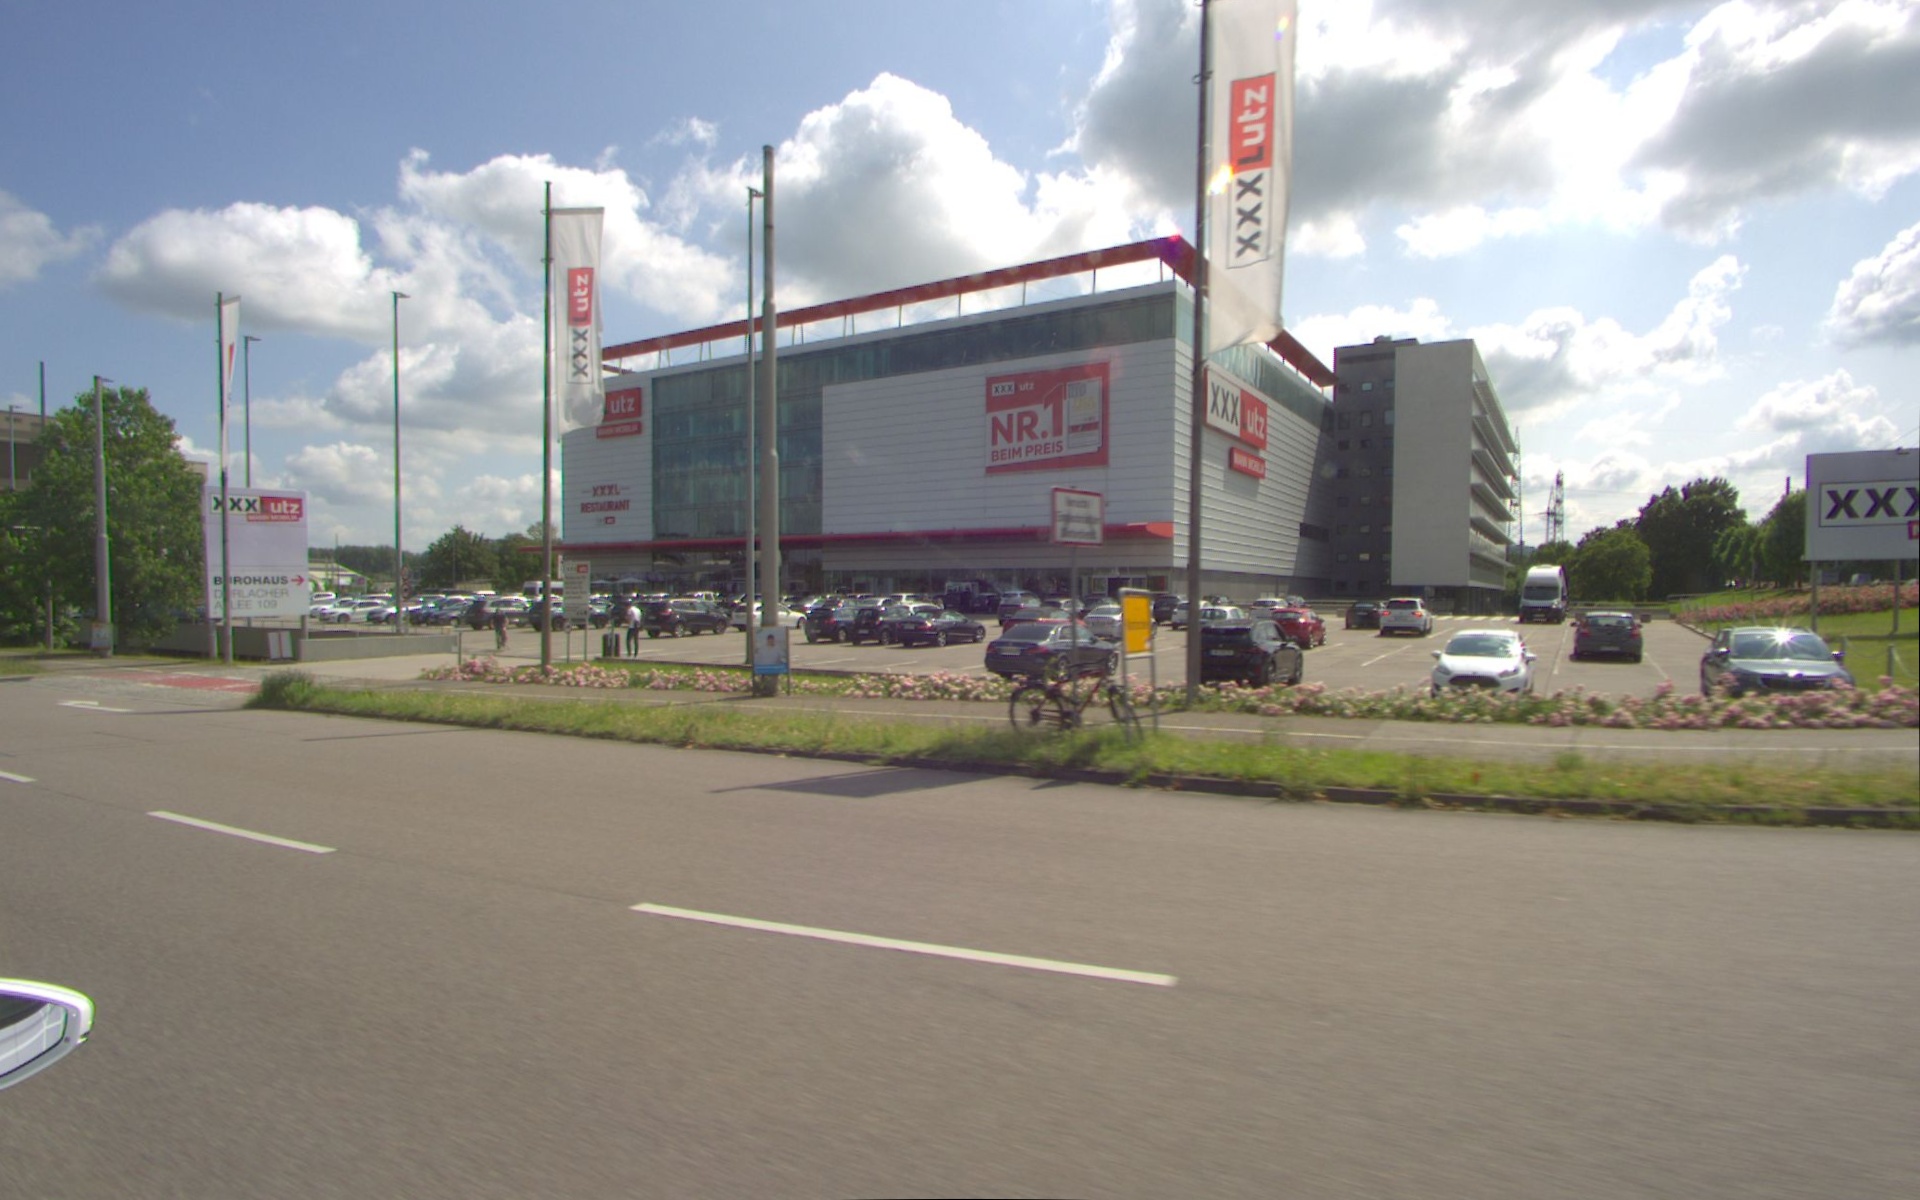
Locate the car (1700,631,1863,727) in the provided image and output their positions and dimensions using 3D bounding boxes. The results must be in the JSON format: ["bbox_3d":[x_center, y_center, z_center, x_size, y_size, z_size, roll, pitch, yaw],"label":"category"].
[{"bbox_3d":[14.844,1.339,18.305,1.690,1.437,3.981,-1,0,30],"label":"car"}]

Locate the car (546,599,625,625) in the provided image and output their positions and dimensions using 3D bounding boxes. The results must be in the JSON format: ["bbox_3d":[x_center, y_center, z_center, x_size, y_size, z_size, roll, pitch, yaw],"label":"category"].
[{"bbox_3d":[-22.331,0.704,59.851,1.734,1.483,4.233,1,0,31],"label":"car"}]

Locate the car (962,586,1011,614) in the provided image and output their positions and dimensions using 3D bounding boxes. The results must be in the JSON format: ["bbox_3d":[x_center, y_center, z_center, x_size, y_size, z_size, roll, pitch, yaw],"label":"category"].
[{"bbox_3d":[2.034,-0.003,74.799,1.970,2.040,3.981,1,0,31],"label":"car"}]

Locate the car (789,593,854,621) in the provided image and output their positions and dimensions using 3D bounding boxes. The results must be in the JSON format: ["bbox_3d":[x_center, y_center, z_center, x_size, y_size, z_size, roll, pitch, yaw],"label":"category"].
[{"bbox_3d":[-8.693,0.393,63.241,1.825,1.609,4.217,1,2,30],"label":"car"}]

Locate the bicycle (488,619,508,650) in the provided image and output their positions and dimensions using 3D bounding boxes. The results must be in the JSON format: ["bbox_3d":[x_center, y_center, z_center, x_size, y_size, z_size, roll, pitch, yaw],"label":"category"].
[{"bbox_3d":[-17.078,1.262,37.021,0.615,1.082,1.959,-1,1,-26],"label":"bicycle"}]

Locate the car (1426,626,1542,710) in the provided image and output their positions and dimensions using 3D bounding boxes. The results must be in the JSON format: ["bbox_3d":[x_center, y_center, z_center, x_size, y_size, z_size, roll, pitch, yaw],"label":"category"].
[{"bbox_3d":[10.908,1.303,20.698,1.771,1.459,4.349,0,0,33],"label":"car"}]

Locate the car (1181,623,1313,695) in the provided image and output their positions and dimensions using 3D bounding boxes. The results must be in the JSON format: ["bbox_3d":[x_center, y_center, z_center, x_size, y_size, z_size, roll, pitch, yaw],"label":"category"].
[{"bbox_3d":[6.773,1.293,23.333,1.830,1.435,4.349,0,0,33],"label":"car"}]

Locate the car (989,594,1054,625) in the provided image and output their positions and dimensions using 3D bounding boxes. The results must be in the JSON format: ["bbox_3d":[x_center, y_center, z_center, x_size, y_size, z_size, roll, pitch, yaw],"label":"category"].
[{"bbox_3d":[3.454,0.499,55.531,1.971,1.529,3.976,1,2,33],"label":"car"}]

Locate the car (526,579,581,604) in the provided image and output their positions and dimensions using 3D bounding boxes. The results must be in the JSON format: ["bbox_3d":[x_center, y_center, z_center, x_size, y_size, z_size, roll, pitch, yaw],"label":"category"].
[{"bbox_3d":[-34.394,-0.693,84.777,1.971,1.977,3.979,1,0,32],"label":"car"}]

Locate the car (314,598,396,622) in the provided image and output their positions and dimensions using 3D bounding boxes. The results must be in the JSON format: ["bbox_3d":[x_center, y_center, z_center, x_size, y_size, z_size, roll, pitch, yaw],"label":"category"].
[{"bbox_3d":[-39.407,0.613,65.318,1.864,1.408,4.177,1,2,29],"label":"car"}]

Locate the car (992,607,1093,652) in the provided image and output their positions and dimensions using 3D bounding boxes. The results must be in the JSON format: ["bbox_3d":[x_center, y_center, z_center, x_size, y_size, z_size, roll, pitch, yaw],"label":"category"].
[{"bbox_3d":[3.075,1.019,36.649,1.821,1.381,4.346,2,2,34],"label":"car"}]

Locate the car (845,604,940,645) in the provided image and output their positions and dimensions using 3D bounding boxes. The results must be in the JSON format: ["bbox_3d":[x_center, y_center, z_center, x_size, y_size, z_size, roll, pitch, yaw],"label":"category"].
[{"bbox_3d":[-2.705,0.956,41.056,1.604,1.462,4.346,2,2,34],"label":"car"}]

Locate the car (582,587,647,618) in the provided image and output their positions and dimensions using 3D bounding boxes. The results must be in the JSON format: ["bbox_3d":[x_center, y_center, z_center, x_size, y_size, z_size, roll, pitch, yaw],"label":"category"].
[{"bbox_3d":[-24.503,0.140,71.115,1.971,2.041,3.977,1,2,32],"label":"car"}]

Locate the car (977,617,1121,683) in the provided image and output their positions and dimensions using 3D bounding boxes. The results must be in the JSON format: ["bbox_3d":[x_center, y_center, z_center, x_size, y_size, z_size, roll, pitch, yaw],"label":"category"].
[{"bbox_3d":[2.372,1.208,25.707,1.831,1.496,4.347,-1,0,34],"label":"car"}]

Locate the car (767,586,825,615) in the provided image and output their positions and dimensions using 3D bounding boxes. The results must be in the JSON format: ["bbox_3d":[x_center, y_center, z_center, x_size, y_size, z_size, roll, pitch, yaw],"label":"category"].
[{"bbox_3d":[-11.775,0.033,72.032,1.971,2.040,3.979,1,0,32],"label":"car"}]

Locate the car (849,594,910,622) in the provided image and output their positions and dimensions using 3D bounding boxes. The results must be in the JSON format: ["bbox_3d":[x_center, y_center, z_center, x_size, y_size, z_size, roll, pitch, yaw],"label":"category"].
[{"bbox_3d":[-4.785,0.459,59.848,1.679,1.531,4.148,1,1,28],"label":"car"}]

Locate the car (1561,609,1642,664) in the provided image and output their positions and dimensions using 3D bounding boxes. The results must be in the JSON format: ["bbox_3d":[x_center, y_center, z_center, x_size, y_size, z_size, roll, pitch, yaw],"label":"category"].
[{"bbox_3d":[20.465,1.099,31.911,2.020,1.428,4.345,1,3,34],"label":"car"}]

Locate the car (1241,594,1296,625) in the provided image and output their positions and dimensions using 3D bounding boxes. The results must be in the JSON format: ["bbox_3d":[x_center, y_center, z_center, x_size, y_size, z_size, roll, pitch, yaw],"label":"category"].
[{"bbox_3d":[16.433,0.508,53.219,1.891,1.550,3.981,1,0,30],"label":"car"}]

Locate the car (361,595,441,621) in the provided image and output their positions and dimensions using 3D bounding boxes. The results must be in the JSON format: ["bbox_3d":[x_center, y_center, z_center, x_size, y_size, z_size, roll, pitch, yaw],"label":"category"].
[{"bbox_3d":[-35.189,0.526,63.123,1.970,1.591,3.982,0,-1,30],"label":"car"}]

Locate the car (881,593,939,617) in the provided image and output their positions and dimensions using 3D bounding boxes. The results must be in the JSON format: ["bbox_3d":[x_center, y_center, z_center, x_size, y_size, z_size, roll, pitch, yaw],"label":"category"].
[{"bbox_3d":[-3.275,0.373,66.504,1.681,1.531,4.332,1,0,31],"label":"car"}]

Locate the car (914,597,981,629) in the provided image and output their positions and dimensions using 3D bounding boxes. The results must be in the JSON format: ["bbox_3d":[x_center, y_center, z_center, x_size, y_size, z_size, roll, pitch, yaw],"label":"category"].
[{"bbox_3d":[-0.606,0.657,52.482,1.670,1.609,4.008,2,1,31],"label":"car"}]

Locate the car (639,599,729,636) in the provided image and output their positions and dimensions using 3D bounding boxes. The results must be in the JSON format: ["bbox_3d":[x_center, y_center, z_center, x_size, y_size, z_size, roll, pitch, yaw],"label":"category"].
[{"bbox_3d":[-12.864,0.791,46.887,1.715,1.552,4.048,0,1,29],"label":"car"}]

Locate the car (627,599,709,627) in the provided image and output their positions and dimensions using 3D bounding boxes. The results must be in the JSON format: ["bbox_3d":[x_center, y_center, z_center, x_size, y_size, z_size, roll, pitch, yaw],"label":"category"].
[{"bbox_3d":[-16.308,0.739,56.069,1.863,1.519,4.352,0,-1,31],"label":"car"}]

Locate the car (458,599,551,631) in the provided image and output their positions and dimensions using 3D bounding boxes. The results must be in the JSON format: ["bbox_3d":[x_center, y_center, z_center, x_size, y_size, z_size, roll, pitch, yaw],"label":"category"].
[{"bbox_3d":[-25.194,0.770,55.570,2.000,1.595,4.350,1,2,31],"label":"car"}]

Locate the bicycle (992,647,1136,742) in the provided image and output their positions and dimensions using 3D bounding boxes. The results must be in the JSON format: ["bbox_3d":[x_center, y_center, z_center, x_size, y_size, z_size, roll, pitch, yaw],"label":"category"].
[{"bbox_3d":[1.136,1.017,11.102,1.522,0.965,0.516,-1,0,32],"label":"bicycle"}]

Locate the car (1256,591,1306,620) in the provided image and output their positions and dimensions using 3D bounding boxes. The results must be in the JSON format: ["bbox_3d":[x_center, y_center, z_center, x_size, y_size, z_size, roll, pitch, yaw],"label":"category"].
[{"bbox_3d":[20.376,0.359,63.463,1.972,1.762,3.977,1,0,34],"label":"car"}]

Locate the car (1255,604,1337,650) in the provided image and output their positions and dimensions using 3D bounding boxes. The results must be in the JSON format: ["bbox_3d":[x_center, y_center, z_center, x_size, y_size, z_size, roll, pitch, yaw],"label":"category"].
[{"bbox_3d":[12.658,0.967,37.556,1.821,1.447,4.346,2,2,34],"label":"car"}]

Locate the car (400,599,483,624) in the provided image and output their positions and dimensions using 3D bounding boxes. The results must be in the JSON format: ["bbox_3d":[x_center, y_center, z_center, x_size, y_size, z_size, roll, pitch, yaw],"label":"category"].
[{"bbox_3d":[-31.005,0.680,60.012,1.663,1.343,4.174,0,1,32],"label":"car"}]

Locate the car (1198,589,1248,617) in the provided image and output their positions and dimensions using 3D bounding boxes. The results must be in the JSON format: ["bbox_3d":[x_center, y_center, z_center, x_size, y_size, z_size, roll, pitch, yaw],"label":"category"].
[{"bbox_3d":[17.284,0.206,65.637,1.972,1.762,3.977,1,0,34],"label":"car"}]

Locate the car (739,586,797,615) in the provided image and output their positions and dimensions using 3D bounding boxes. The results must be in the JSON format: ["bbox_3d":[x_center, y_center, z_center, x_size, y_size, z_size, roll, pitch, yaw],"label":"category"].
[{"bbox_3d":[-14.126,0.060,73.847,1.971,2.040,3.979,1,0,32],"label":"car"}]

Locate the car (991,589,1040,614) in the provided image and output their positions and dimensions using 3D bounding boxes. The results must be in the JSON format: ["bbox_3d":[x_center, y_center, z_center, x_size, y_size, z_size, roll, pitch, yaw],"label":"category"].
[{"bbox_3d":[4.080,0.140,73.556,1.970,1.746,3.981,1,0,31],"label":"car"}]

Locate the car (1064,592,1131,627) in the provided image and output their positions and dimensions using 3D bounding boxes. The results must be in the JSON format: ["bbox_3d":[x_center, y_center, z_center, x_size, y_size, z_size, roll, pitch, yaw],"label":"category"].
[{"bbox_3d":[7.319,0.484,52.977,1.973,1.762,3.976,-1,0,34],"label":"car"}]

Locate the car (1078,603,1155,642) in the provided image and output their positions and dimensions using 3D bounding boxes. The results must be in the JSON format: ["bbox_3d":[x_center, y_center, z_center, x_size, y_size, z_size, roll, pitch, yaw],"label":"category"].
[{"bbox_3d":[6.468,0.883,41.090,1.580,1.381,4.013,2,2,34],"label":"car"}]

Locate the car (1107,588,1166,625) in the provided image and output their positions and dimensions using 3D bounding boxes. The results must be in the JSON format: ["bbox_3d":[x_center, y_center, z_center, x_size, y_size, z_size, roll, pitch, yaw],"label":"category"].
[{"bbox_3d":[10.127,0.407,57.267,1.972,2.040,3.978,-1,-1,33],"label":"car"}]

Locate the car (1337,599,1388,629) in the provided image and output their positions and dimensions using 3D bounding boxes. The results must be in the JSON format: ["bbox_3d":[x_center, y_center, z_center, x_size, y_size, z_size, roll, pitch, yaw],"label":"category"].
[{"bbox_3d":[20.467,0.731,50.849,1.891,1.459,3.983,0,-1,30],"label":"car"}]

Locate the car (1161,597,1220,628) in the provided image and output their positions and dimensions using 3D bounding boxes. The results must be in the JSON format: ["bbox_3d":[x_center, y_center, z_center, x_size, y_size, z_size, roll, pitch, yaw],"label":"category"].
[{"bbox_3d":[11.614,0.645,50.367,1.645,1.471,3.978,1,0,33],"label":"car"}]

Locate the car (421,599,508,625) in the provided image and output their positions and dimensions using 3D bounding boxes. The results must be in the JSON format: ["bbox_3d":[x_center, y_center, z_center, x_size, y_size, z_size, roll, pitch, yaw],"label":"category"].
[{"bbox_3d":[-28.867,0.681,58.462,1.738,1.343,4.350,1,2,31],"label":"car"}]

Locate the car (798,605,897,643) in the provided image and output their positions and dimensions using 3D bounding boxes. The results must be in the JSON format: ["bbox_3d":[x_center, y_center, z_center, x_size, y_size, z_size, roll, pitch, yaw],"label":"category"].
[{"bbox_3d":[-4.680,0.965,42.307,1.821,1.381,4.346,2,2,34],"label":"car"}]

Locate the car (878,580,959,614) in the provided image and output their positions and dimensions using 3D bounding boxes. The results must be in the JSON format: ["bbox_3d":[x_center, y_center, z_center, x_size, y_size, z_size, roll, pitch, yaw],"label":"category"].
[{"bbox_3d":[-1.897,-0.131,47.017,1.800,1.528,4.141,1,0,33],"label":"car"}]

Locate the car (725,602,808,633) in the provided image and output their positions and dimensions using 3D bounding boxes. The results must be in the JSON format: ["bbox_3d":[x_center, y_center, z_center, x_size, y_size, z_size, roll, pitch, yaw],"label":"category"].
[{"bbox_3d":[-9.971,0.858,51.870,1.733,1.447,4.280,2,1,32],"label":"car"}]

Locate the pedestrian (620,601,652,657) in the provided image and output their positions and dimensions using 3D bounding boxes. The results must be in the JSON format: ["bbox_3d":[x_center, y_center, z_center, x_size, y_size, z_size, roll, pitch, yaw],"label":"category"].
[{"bbox_3d":[-10.670,0.949,32.945,0.859,1.806,0.780,1,1,-27],"label":"pedestrian"}]

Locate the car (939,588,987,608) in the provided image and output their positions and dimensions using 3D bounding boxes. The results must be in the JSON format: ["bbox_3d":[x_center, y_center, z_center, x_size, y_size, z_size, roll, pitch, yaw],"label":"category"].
[{"bbox_3d":[0.243,-0.134,76.454,1.714,1.498,4.158,1,0,32],"label":"car"}]

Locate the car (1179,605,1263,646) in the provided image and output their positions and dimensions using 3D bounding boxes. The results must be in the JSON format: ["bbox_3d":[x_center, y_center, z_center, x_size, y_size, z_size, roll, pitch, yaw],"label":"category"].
[{"bbox_3d":[10.263,0.954,39.178,1.821,1.381,4.346,2,2,34],"label":"car"}]

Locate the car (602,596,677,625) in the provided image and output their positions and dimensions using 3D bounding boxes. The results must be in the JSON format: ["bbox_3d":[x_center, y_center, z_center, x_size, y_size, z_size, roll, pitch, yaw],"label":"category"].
[{"bbox_3d":[-18.400,0.567,57.605,1.702,1.484,3.978,1,2,31],"label":"car"}]

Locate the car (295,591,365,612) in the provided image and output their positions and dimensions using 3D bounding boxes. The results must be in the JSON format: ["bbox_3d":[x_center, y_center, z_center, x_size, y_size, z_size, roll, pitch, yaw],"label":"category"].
[{"bbox_3d":[-47.196,0.096,75.091,1.701,1.454,4.174,1,2,32],"label":"car"}]

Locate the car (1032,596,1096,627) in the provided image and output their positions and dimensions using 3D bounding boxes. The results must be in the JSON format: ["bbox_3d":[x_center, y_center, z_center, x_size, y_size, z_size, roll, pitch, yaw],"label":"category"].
[{"bbox_3d":[5.664,0.586,54.204,1.825,1.573,4.037,-1,1,34],"label":"car"}]

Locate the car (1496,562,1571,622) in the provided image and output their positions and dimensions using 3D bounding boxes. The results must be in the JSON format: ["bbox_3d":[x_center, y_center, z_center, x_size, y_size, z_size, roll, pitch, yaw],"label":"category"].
[{"bbox_3d":[33.025,-0.400,57.486,3.080,3.196,7.856,-1,0,35],"label":"car"}]

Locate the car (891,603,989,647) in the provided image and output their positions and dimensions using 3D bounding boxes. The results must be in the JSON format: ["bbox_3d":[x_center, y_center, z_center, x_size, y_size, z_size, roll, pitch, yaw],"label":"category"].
[{"bbox_3d":[-0.717,0.952,39.438,1.659,1.529,4.346,0,1,34],"label":"car"}]

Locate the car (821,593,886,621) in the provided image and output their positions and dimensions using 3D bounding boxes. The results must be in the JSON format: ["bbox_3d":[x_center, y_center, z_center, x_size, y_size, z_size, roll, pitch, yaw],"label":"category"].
[{"bbox_3d":[-6.537,0.386,61.926,1.825,1.609,4.217,1,2,30],"label":"car"}]

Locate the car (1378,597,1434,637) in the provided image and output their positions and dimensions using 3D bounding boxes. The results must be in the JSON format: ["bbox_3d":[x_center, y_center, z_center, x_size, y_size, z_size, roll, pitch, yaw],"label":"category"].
[{"bbox_3d":[19.827,0.716,44.417,1.825,1.609,4.217,1,2,30],"label":"car"}]

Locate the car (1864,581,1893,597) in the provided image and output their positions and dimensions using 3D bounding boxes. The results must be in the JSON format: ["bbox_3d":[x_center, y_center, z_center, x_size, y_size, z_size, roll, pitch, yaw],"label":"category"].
[{"bbox_3d":[147.602,-1.736,160.909,2.116,2.389,5.459,0,0,29],"label":"car"}]

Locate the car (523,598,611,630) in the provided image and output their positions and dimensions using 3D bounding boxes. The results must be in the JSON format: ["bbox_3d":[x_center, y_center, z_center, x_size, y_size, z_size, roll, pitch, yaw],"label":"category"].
[{"bbox_3d":[-20.841,0.698,53.289,1.738,1.574,4.174,1,2,31],"label":"car"}]

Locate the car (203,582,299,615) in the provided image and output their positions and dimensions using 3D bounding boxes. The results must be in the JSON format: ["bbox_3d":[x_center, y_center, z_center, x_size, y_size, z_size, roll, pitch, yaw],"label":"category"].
[{"bbox_3d":[-53.615,-0.050,75.864,2.031,2.397,5.650,0,-1,30],"label":"car"}]

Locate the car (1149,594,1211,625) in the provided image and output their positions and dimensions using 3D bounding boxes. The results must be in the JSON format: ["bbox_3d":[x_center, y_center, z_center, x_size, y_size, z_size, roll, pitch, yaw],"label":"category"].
[{"bbox_3d":[12.125,0.538,55.019,1.971,1.608,4.216,1,0,32],"label":"car"}]

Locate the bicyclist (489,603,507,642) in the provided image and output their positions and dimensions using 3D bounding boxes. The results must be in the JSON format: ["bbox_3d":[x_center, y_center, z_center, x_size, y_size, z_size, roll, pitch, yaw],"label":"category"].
[{"bbox_3d":[-17.082,0.830,37.023,0.607,1.432,0.712,0,1,-26],"label":"bicyclist"}]
